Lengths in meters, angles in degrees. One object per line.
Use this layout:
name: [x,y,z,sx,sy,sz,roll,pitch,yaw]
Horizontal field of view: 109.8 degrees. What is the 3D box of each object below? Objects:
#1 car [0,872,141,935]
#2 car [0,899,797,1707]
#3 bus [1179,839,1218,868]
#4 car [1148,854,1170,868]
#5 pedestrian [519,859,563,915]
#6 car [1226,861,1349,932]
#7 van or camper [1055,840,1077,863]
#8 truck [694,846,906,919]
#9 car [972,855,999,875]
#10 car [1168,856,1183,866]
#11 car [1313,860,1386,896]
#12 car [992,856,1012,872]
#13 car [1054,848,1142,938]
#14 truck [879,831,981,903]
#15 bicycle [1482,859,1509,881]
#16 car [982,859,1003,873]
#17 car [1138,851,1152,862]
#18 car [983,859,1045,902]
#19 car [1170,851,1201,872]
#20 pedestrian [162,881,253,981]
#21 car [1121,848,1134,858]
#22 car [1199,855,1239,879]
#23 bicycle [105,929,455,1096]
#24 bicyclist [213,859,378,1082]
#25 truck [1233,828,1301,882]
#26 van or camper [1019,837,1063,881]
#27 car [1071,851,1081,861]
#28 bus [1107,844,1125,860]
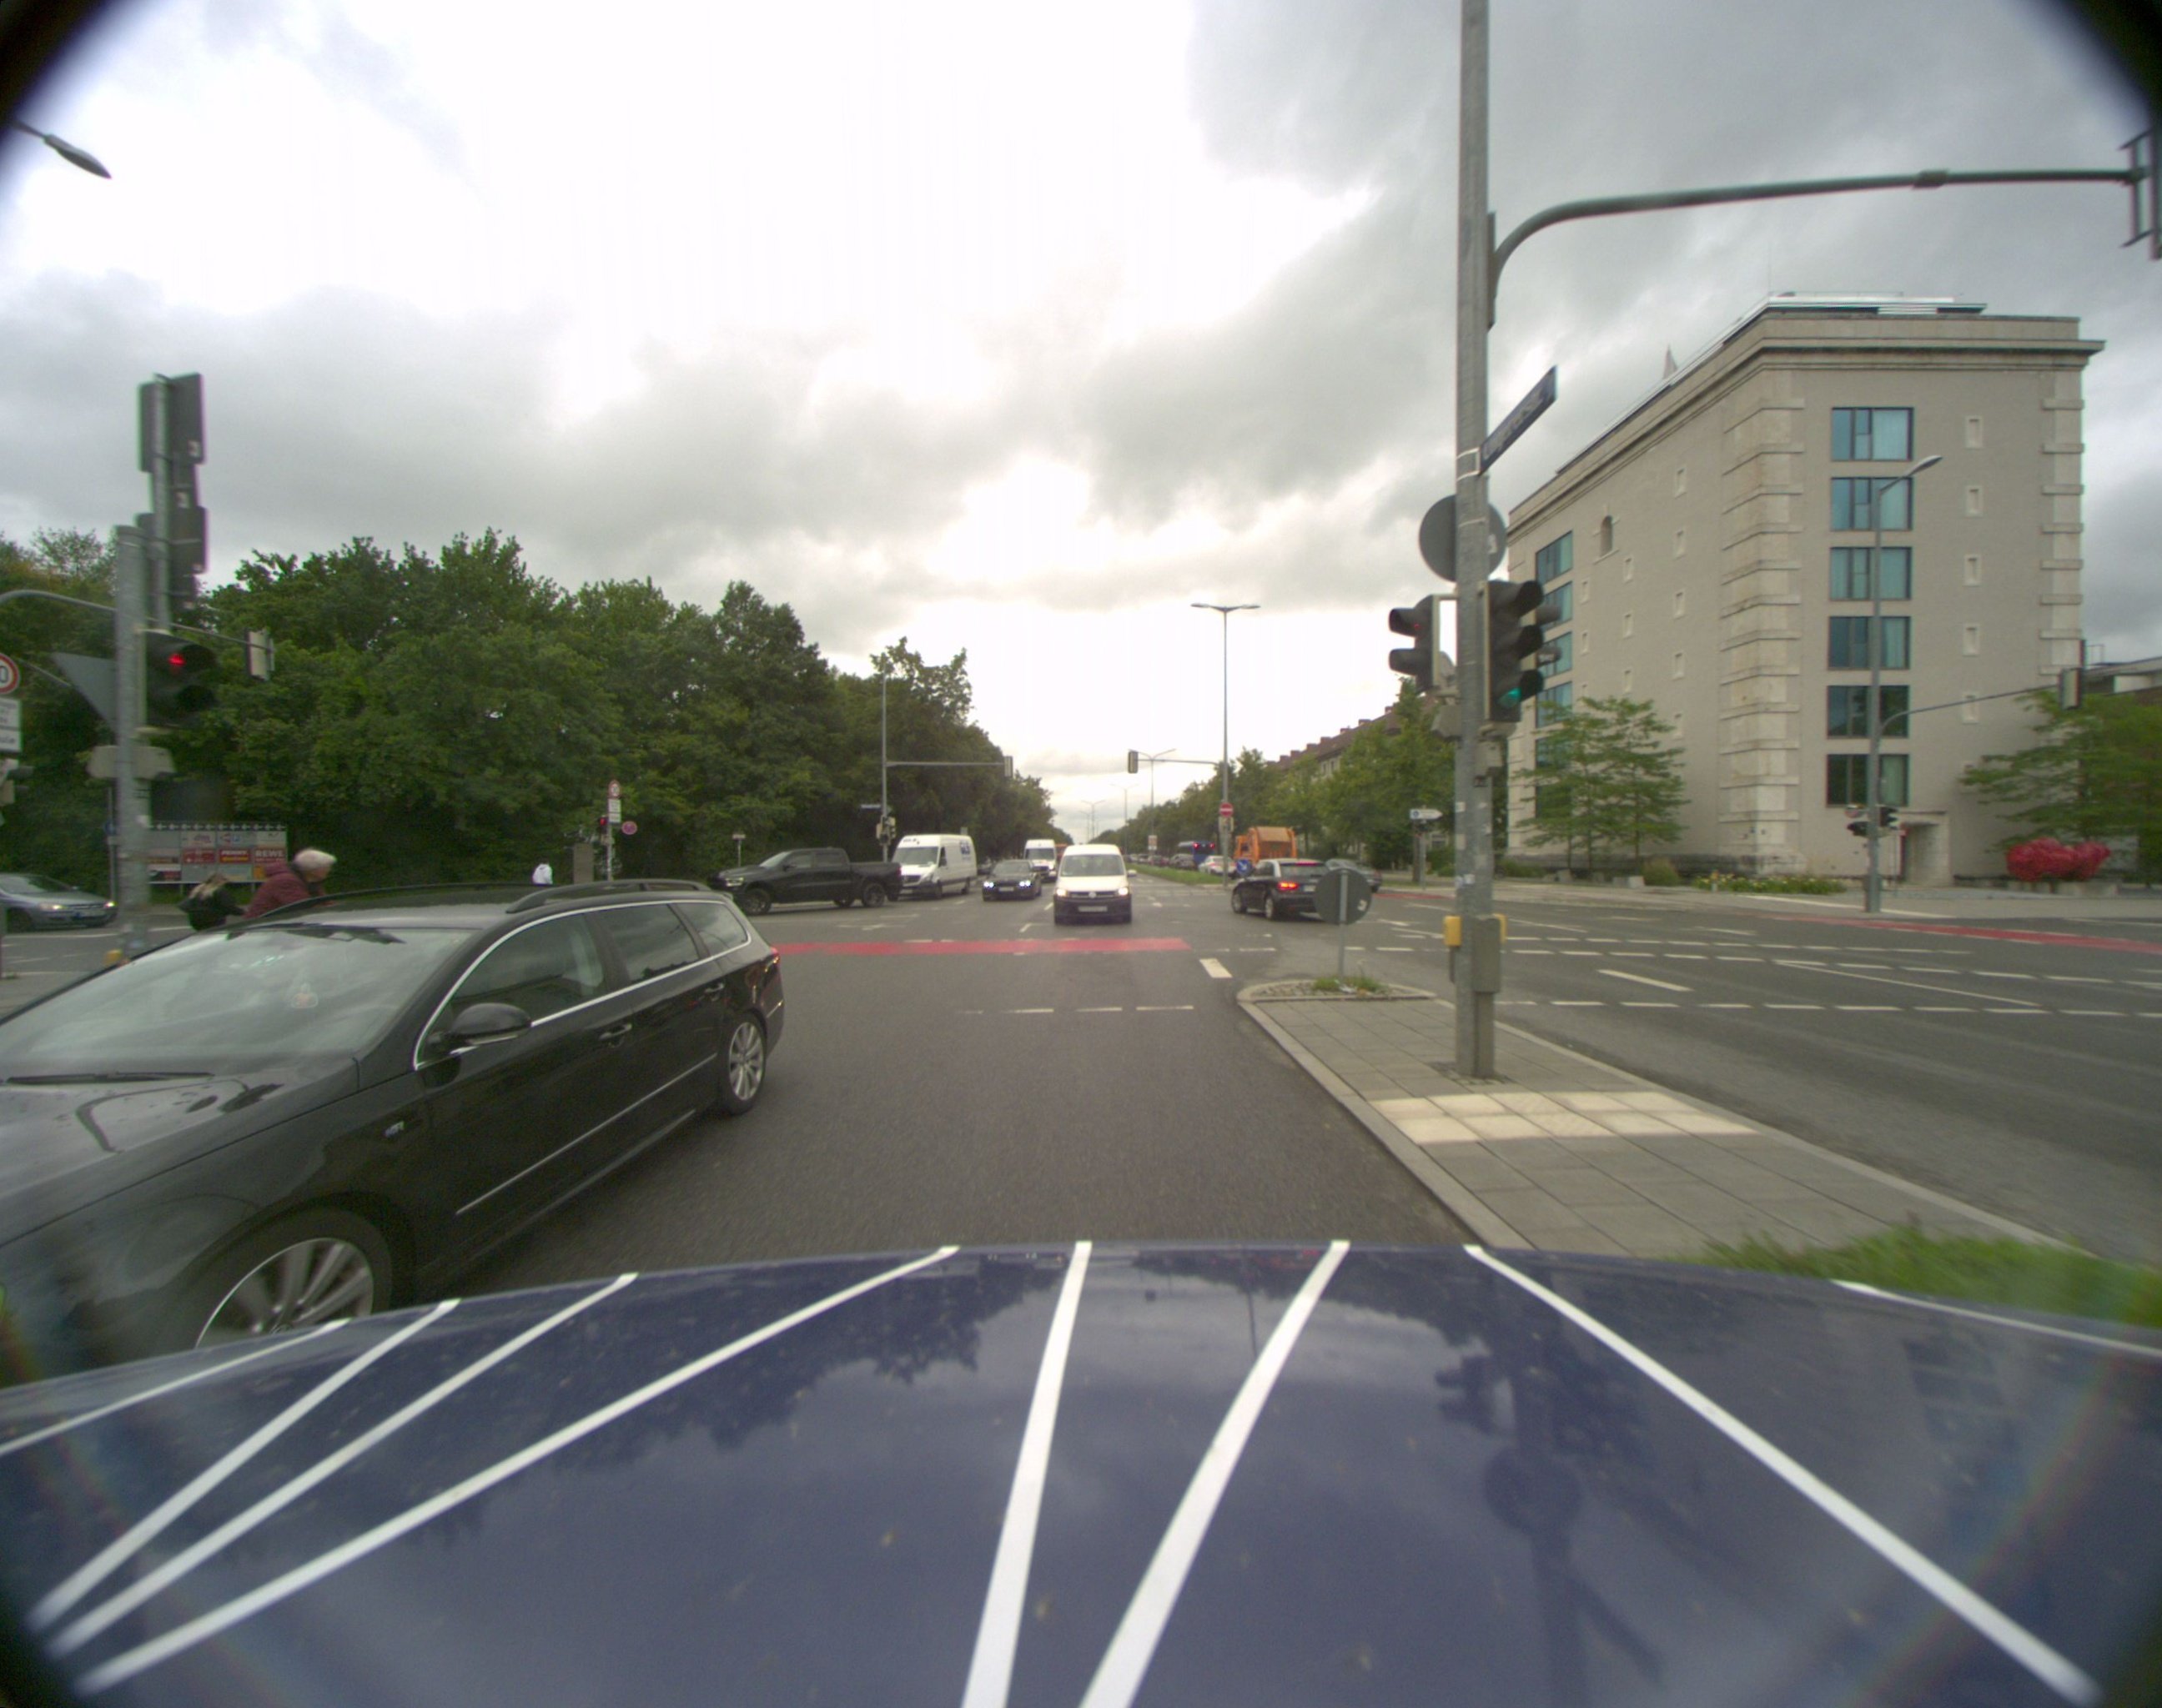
car: [-26.122,1.189,18.540,3.949,1.445,1.626,0,0,-7]
car: [-2.928,1.077,3.181,1.752,1.466,4.671,-1,0,-1]
bus: [14.529,-0.092,94.822,2.752,3.324,12.047,1,0,-1]
car: [8.799,0.728,86.000,1.931,1.453,4.898,2,0,0]
pedestrian: [-16.714,1.011,23.533,0.762,1.693,0.938,0,1,-9]
car: [4.778,0.923,18.102,1.644,1.478,3.779,0,0,-4]
van or camper: [-2.104,-0.358,106.742,2.780,3.219,7.074,0,0,1]
truck: [-8.515,0.768,23.532,2.099,2.002,5.824,0,0,43]
car: [-8.327,0.926,66.474,1.884,1.640,4.396,0,0,-1]
car: [14.648,1.018,118.437,1.857,1.454,3.910,-2,0,1]
car: [11.636,1.005,33.201,1.727,1.408,4.216,2,0,2]
car: [-8.670,1.073,83.345,1.752,1.640,4.255,0,0,-1]
car: [0.316,0.778,17.704,1.752,1.808,4.671,0,0,-1]
truck: [-5.948,0.446,31.177,1.997,2.588,7.230,-1,0,6]
bicycle: [23.121,0.895,42.398,0.546,1.174,1.826,0,0,0]
car: [-8.990,1.190,77.332,1.752,1.420,4.255,0,0,-1]
car: [10.939,0.454,130.106,1.784,1.801,4.430,2,0,-1]
car: [-2.429,0.936,28.569,1.819,1.421,4.671,0,0,1]
car: [8.524,0.588,62.494,1.867,1.533,4.749,4,0,1]
pedestrian: [-14.046,1.208,12.231,0.691,1.529,0.738,0,1,20]
car: [7.735,-0.152,126.302,1.702,1.560,4.290,0,0,-1]
car: [8.806,0.794,48.786,1.732,1.478,4.742,0,0,0]
bicycle: [-6.704,1.271,6.552,1.951,1.075,0.746,-1,1,-35]
bicyclist: [-6.710,0.926,6.549,0.829,1.754,0.744,-1,1,-35]
truck: [12.082,0.048,50.059,2.787,3.336,7.266,0,0,0]
van or camper: [-2.374,0.283,47.029,2.183,2.546,7.074,0,0,1]
car: [-1.076,0.455,157.350,1.998,2.002,4.000,0,0,1]
bus: [7.475,-0.483,163.224,2.753,3.324,12.270,1,0,-3]
